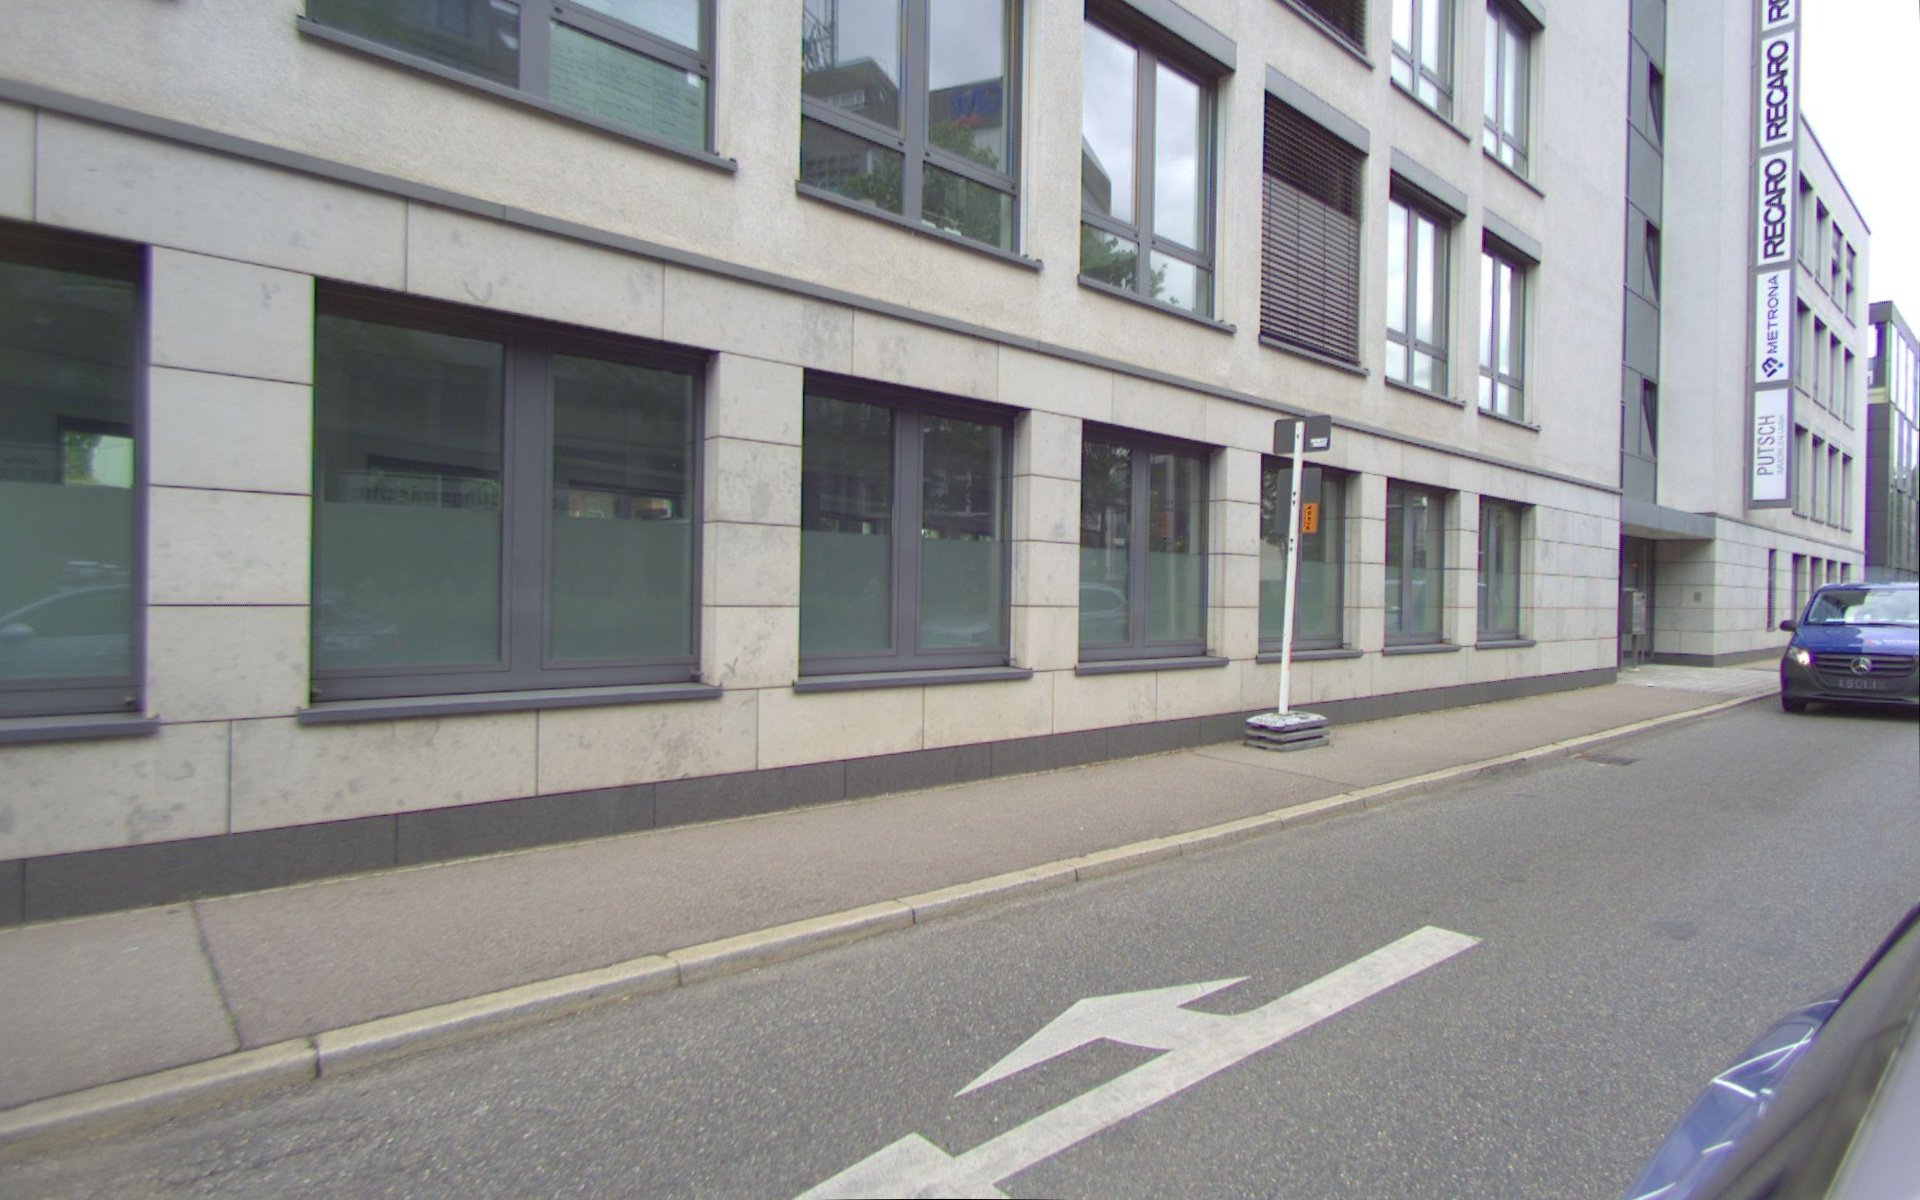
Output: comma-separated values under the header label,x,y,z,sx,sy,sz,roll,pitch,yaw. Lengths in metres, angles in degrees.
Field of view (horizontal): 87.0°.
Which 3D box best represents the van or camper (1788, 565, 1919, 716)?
label,x,y,z,sx,sy,sz,roll,pitch,yaw
van or camper,13.934,0.505,14.895,4.943,1.935,1.863,0,1,-41
